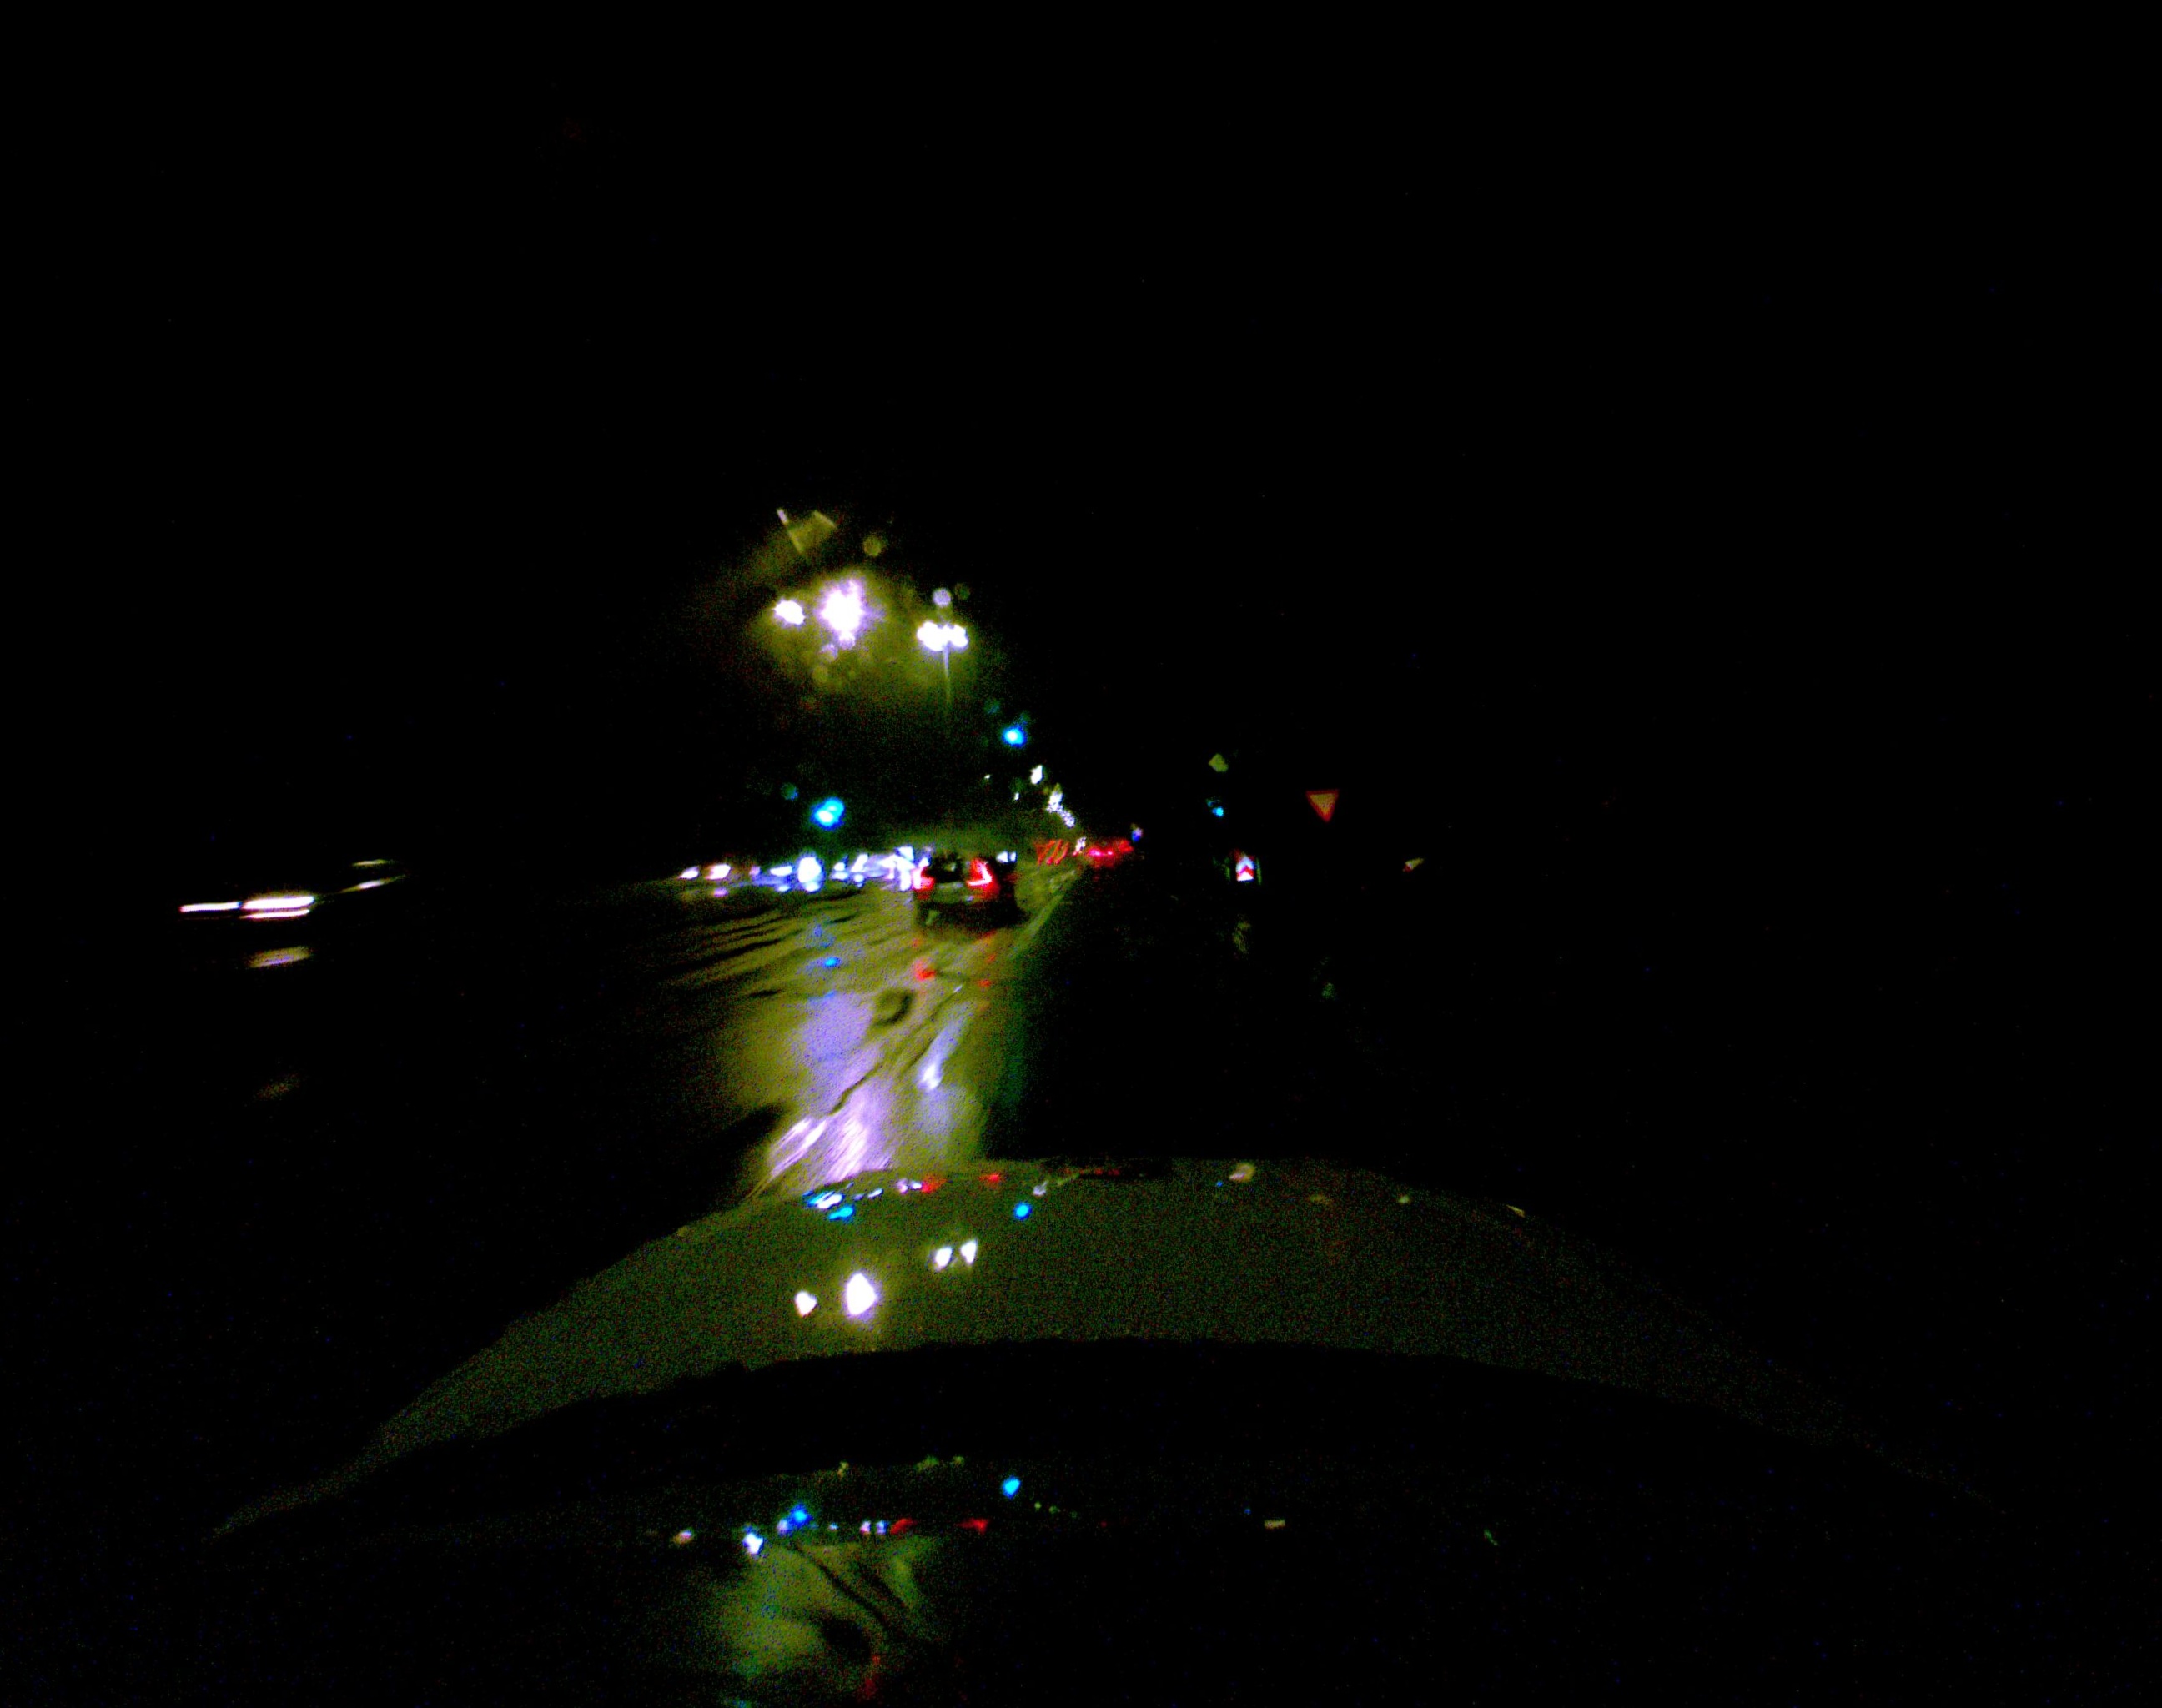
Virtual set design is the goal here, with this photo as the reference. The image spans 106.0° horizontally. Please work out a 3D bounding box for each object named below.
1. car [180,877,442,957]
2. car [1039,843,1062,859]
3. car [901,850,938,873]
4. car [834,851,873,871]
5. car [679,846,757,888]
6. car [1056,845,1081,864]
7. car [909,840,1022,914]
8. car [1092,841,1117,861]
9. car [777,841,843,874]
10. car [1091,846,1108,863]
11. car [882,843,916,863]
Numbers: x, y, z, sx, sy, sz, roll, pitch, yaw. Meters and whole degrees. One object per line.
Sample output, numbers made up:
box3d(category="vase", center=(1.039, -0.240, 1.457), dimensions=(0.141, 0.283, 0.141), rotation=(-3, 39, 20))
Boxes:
box3d(category="car", center=(-14.809, 1.145, 15.972), dimensions=(1.638, 1.203, 3.615), rotation=(-1, 1, 0))
box3d(category="car", center=(-3.672, -0.337, 98.428), dimensions=(2.167, 1.602, 4.005), rotation=(3, -2, 5))
box3d(category="car", center=(-10.515, 0.467, 53.361), dimensions=(1.583, 1.427, 3.353), rotation=(-1, 1, 3))
box3d(category="car", center=(-17.400, 0.588, 62.485), dimensions=(1.842, 1.456, 4.095), rotation=(1, -2, 0))
box3d(category="car", center=(-17.608, 0.591, 39.728), dimensions=(1.756, 1.892, 4.207), rotation=(-1, 1, 1))
box3d(category="car", center=(-1.237, 0.078, 82.133), dimensions=(2.169, 1.602, 4.001), rotation=(3, -2, 2))
box3d(category="car", center=(-2.452, 0.451, 18.381), dimensions=(1.789, 1.452, 4.271), rotation=(0, 0, 2))
box3d(category="car", center=(2.142, -0.253, 72.407), dimensions=(1.901, 1.602, 4.005), rotation=(3, -2, 5))
box3d(category="car", center=(-14.026, 0.164, 42.341), dimensions=(1.774, 1.608, 4.247), rotation=(-1, 0, 4))
box3d(category="car", center=(2.301, 0.061, 102.776), dimensions=(1.986, 1.839, 4.001), rotation=(4, -2, 2))
box3d(category="car", center=(-14.337, -0.089, 64.312), dimensions=(1.658, 1.448, 3.821), rotation=(-1, 1, 1))
